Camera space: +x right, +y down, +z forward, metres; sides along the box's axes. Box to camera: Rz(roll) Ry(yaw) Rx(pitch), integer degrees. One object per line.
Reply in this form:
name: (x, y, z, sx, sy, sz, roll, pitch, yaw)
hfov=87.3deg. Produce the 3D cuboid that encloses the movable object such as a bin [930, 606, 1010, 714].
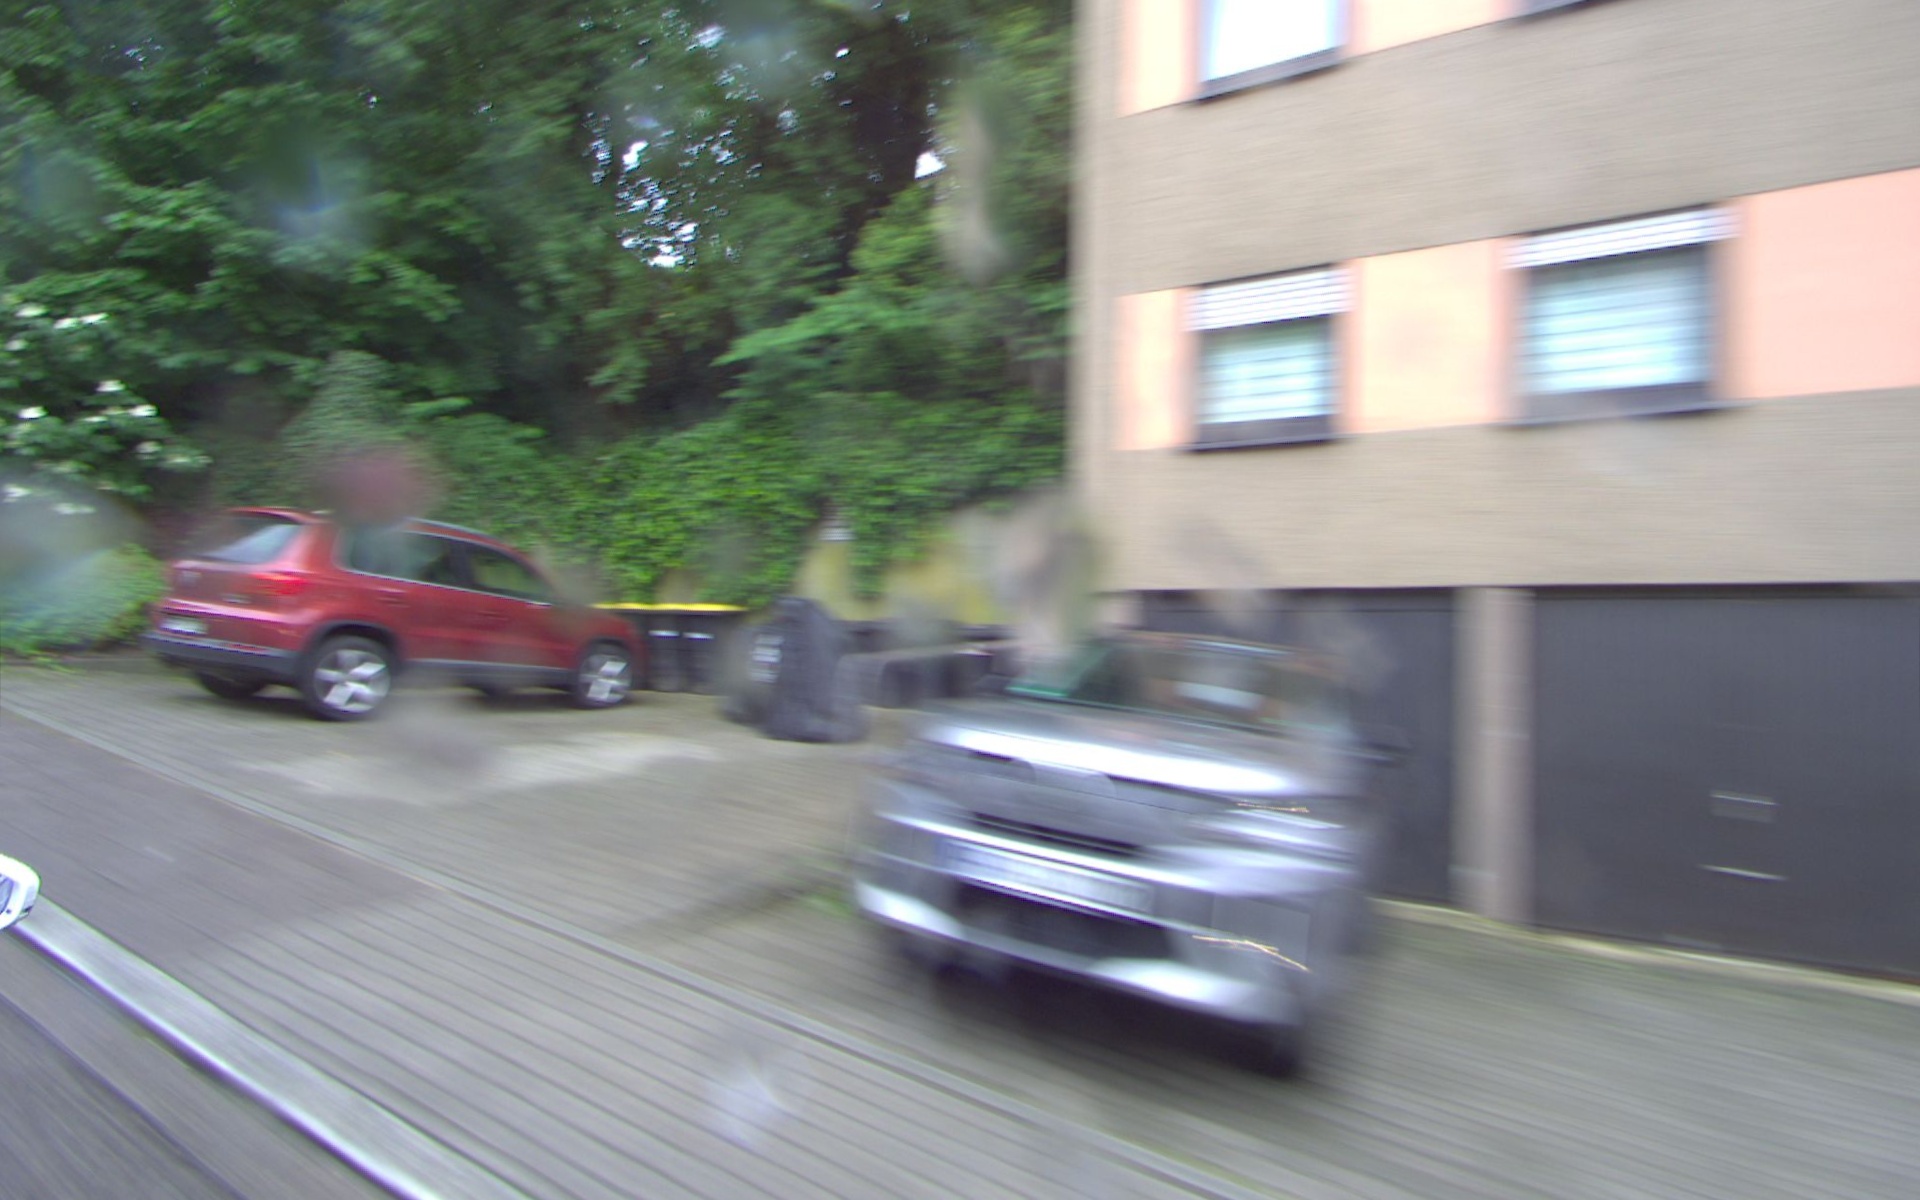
movable object such as a bin: (0.106, 0.642, 10.723, 0.593, 1.074, 0.508, 4, -2, 30)

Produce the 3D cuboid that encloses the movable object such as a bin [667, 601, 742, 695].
movable object such as a bin: (-3.076, 0.580, 12.124, 0.593, 1.074, 0.508, 4, -2, 30)

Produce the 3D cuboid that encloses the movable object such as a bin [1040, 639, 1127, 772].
movable object such as a bin: (1.087, 0.913, 8.792, 0.500, 1.074, 0.603, 4, -2, 27)

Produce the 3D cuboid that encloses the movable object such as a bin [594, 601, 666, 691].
movable object such as a bin: (-4.163, 0.586, 12.698, 0.593, 1.074, 0.508, 4, -2, 30)

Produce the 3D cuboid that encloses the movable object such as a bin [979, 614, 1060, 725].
movable object such as a bin: (0.619, 0.713, 10.421, 0.593, 1.074, 0.508, 4, -2, 30)

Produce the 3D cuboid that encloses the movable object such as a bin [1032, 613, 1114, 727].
movable object such as a bin: (1.141, 0.701, 10.123, 0.593, 1.074, 0.508, 4, -2, 30)

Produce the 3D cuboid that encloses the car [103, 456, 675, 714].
car: (-4.849, 0.050, 9.301, 1.729, 1.754, 4.212, 7, -3, 26)

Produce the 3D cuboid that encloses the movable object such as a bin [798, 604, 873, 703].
movable object such as a bin: (-1.438, 0.617, 11.637, 0.593, 1.074, 0.508, 4, -2, 30)

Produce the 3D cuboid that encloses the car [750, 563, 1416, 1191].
car: (1.088, 0.928, 4.921, 1.729, 1.512, 4.211, 7, -3, 28)

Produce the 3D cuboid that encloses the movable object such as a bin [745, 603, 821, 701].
movable object such as a bin: (-2.063, 0.608, 11.751, 0.593, 1.074, 0.508, 4, -2, 30)

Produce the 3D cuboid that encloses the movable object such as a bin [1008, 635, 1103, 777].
movable object such as a bin: (0.794, 0.861, 8.273, 0.500, 1.074, 0.603, 4, -2, 27)

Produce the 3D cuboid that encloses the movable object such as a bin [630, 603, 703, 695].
movable object such as a bin: (-3.622, 0.612, 12.434, 0.593, 1.074, 0.508, 4, -2, 30)

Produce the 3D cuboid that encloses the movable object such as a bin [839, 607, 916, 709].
movable object such as a bin: (-0.929, 0.651, 11.328, 0.593, 1.074, 0.508, 4, -2, 30)

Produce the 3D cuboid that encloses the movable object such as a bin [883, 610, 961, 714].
movable object such as a bin: (-0.415, 0.679, 11.029, 0.593, 1.074, 0.508, 4, -2, 30)

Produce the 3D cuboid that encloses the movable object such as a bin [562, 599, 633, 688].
movable object such as a bin: (-4.683, 0.564, 12.998, 0.593, 1.074, 0.508, 4, -2, 30)
